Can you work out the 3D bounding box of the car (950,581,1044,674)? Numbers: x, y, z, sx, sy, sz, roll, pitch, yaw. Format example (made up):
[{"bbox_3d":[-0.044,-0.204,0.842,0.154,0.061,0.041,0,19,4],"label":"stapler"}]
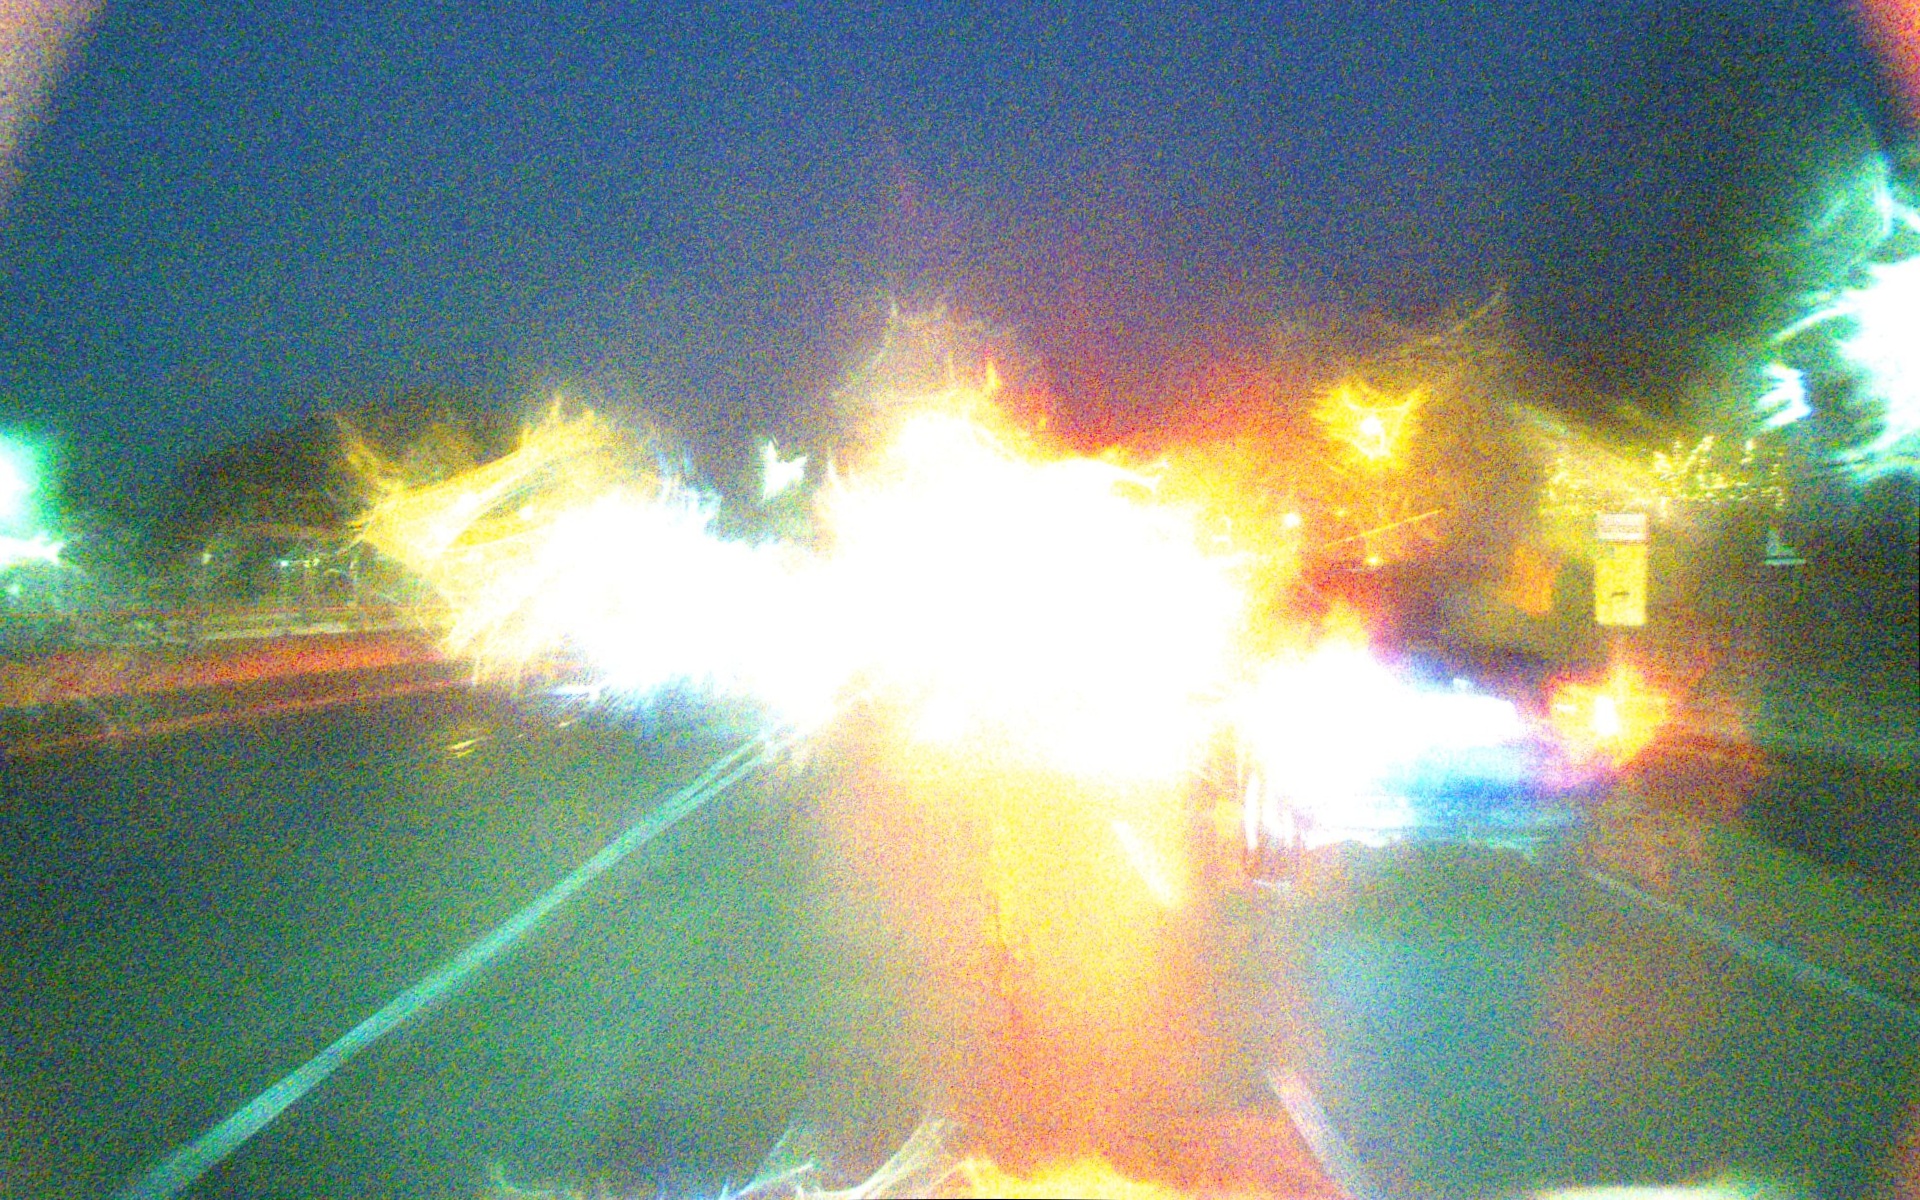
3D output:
[{"bbox_3d":[0.763,0.510,31.963,1.659,1.658,3.854,1,0,3],"label":"car"}]

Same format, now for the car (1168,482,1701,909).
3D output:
[{"bbox_3d":[2.525,0.441,9.969,1.903,2.006,4.217,1,0,-1],"label":"car"}]

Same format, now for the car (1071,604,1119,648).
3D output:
[{"bbox_3d":[4.759,0.907,58.502,1.628,1.475,4.052,0,-1,5],"label":"car"}]

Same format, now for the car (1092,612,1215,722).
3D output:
[{"bbox_3d":[2.978,0.969,25.686,1.730,1.475,4.221,1,0,6],"label":"car"}]

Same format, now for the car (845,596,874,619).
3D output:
[{"bbox_3d":[-6.968,0.529,114.150,1.677,1.525,3.724,-1,0,-8],"label":"car"}]

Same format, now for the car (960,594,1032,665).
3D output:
[{"bbox_3d":[0.950,0.709,41.676,1.673,1.666,3.732,-1,0,3],"label":"car"}]

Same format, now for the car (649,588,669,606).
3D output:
[{"bbox_3d":[-34.257,-0.364,188.334,1.956,1.945,4.734,1,0,-8],"label":"car"}]

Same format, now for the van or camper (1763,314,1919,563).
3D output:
[{"bbox_3d":[13.056,-1.995,19.913,2.539,2.959,6.329,0,0,-17],"label":"van or camper"}]

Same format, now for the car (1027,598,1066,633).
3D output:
[{"bbox_3d":[3.732,0.669,72.031,1.628,1.475,4.051,1,-1,2],"label":"car"}]
